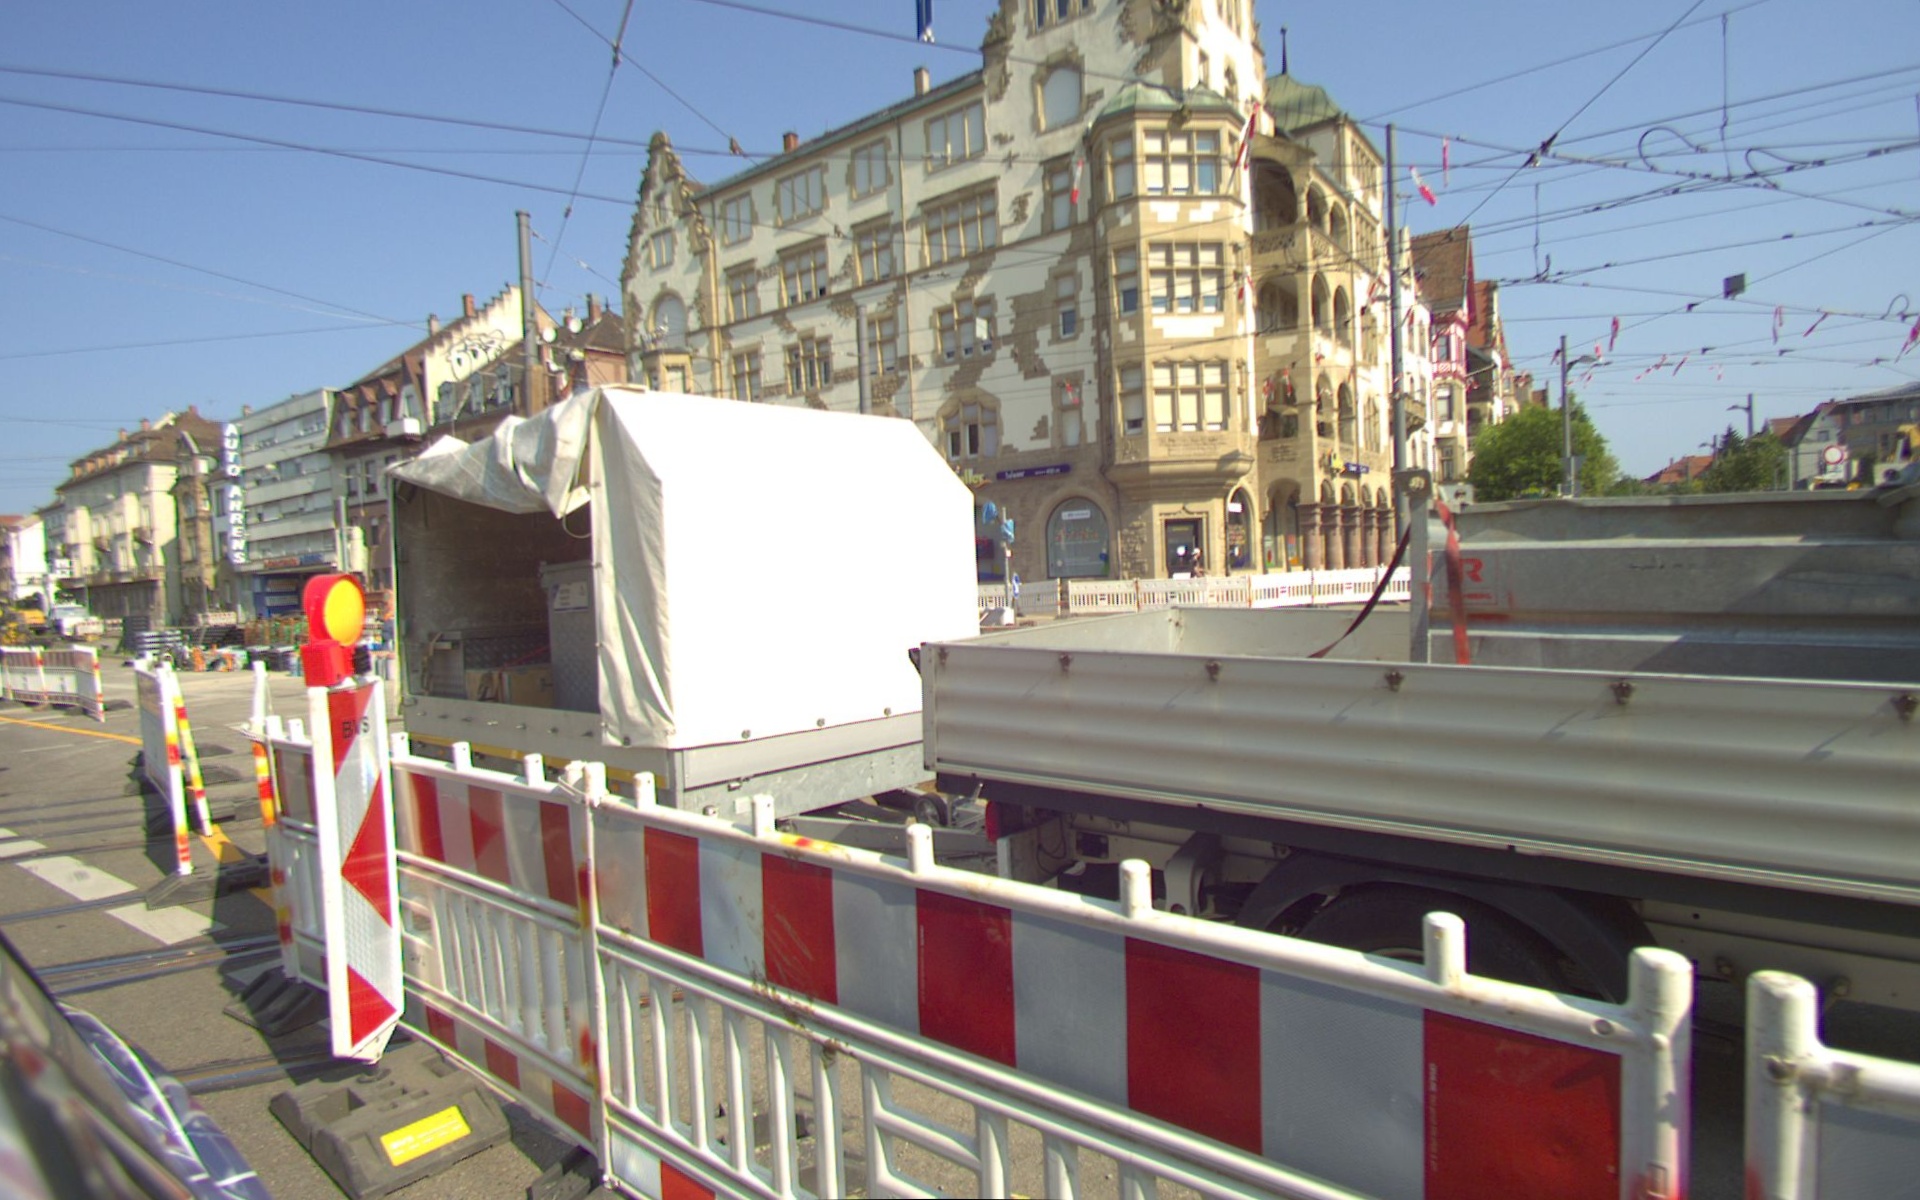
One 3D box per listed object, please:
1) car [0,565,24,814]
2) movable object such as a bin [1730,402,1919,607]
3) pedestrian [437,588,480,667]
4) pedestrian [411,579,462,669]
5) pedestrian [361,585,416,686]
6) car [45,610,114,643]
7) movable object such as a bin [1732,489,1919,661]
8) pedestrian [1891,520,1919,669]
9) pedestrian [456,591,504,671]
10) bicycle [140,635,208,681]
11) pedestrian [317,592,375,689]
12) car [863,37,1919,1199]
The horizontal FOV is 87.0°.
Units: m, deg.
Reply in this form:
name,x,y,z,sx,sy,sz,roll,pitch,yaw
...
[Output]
name,x,y,z,sx,sy,sz,roll,pitch,yaw
car,-9.494,0.791,8.343,4.172,1.900,1.832,-2,3,38
movable object such as a bin,22.777,-2.242,24.635,7.267,4.379,4.978,-4,3,-40
pedestrian,-12.155,0.656,24.562,0.816,1.830,0.887,-3,1,-24
pedestrian,-11.293,0.500,21.831,0.711,1.884,0.708,-3,1,-45
pedestrian,-11.924,0.724,21.142,0.665,2.030,0.697,-2,1,0
car,-64.001,1.916,73.518,7.110,2.150,2.339,-1,2,37
movable object such as a bin,17.053,-0.505,18.263,2.415,2.855,4.817,-3,2,-1
pedestrian,12.716,-0.089,13.111,0.711,1.926,0.791,-3,2,-34
pedestrian,-11.306,0.718,23.866,0.742,1.823,0.832,-3,1,-8
bicycle,-20.335,1.491,26.184,1.958,1.106,0.559,-1,3,28
pedestrian,-12.785,0.825,21.099,0.675,1.941,0.714,-2,1,0
car,3.314,0.151,2.053,7.181,2.442,2.189,-2,2,34
